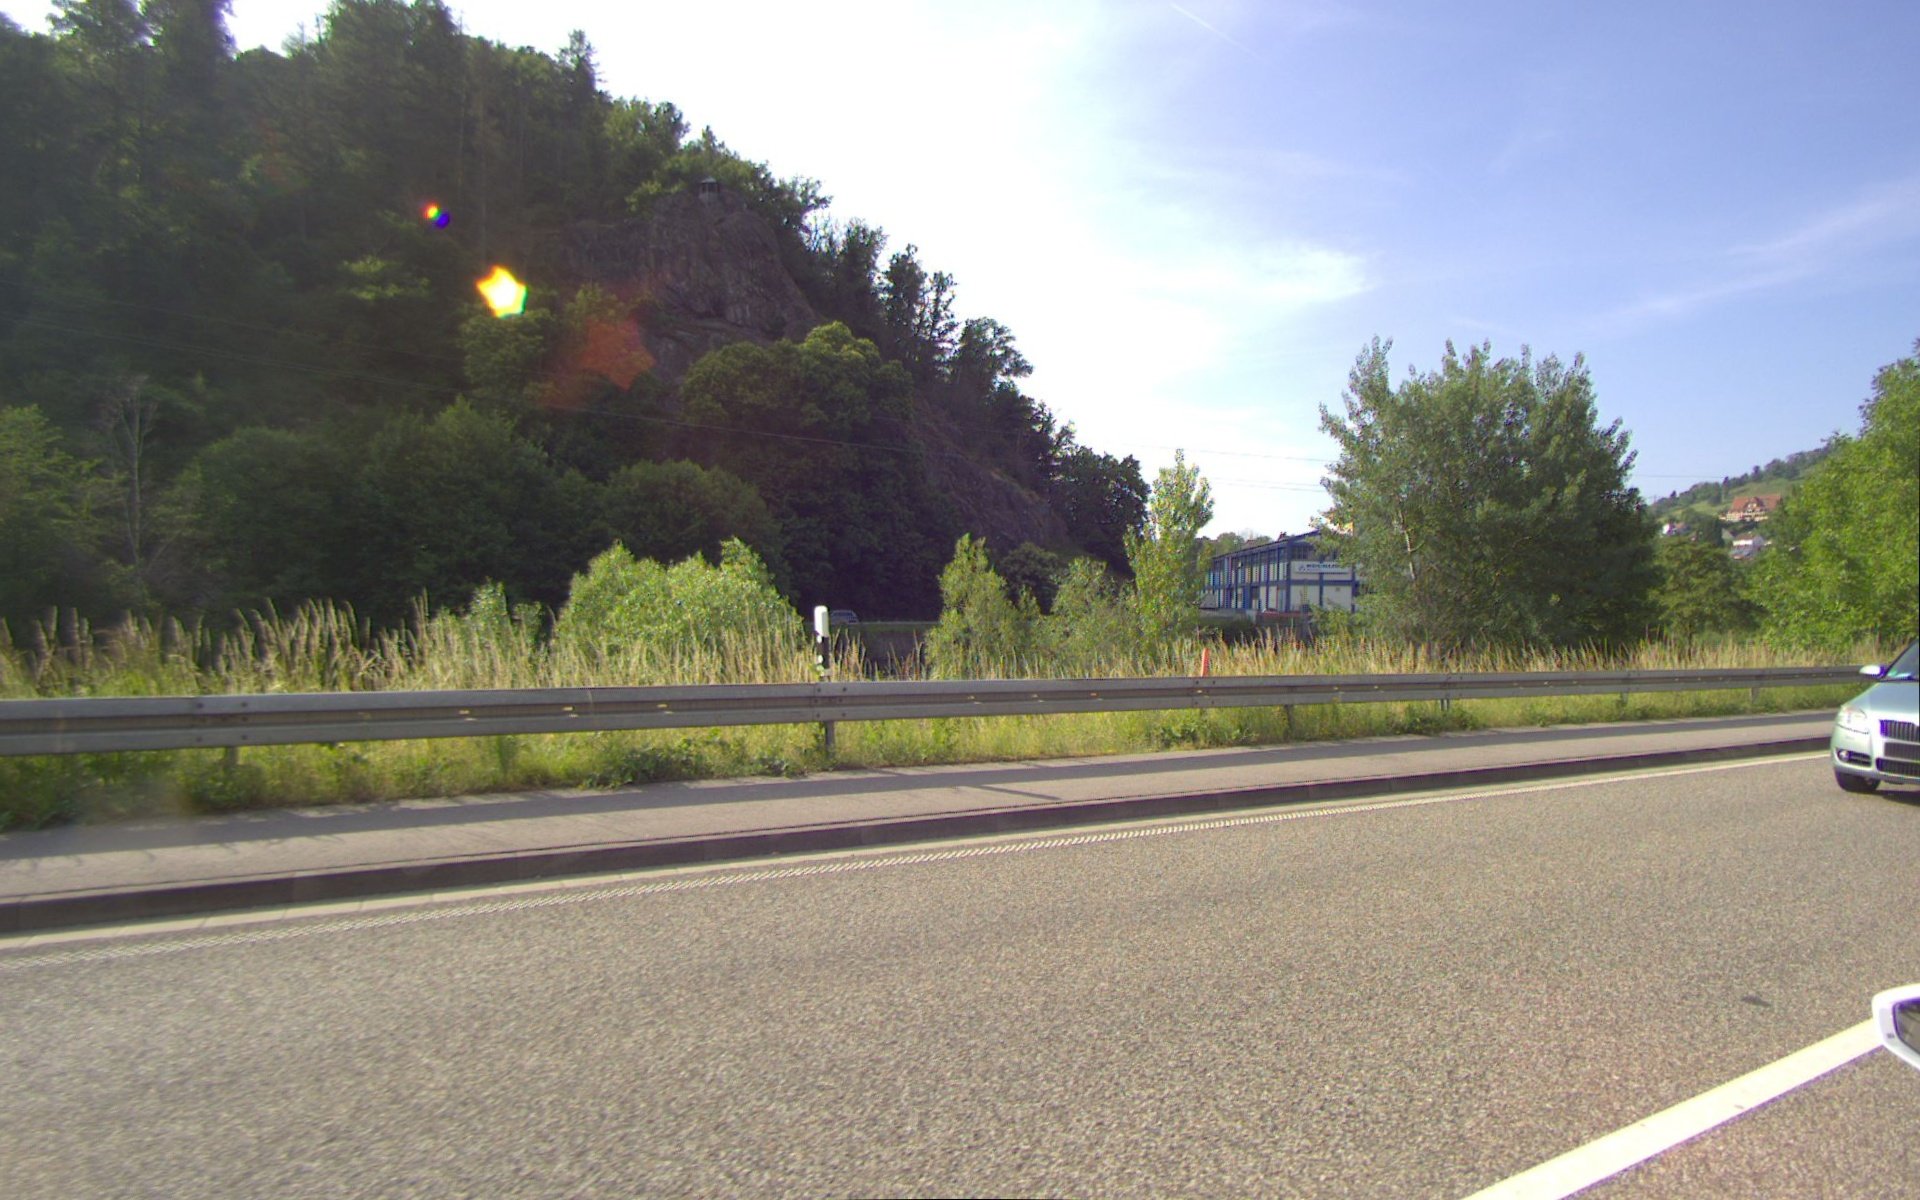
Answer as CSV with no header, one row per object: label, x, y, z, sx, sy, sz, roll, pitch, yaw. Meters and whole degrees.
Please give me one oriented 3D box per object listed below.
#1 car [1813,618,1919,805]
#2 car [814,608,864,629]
car,9.517,0.943,9.065,3.953,1.499,1.570,1,-1,-31
car,-10.669,1.630,88.549,3.961,1.688,1.857,1,2,-35
